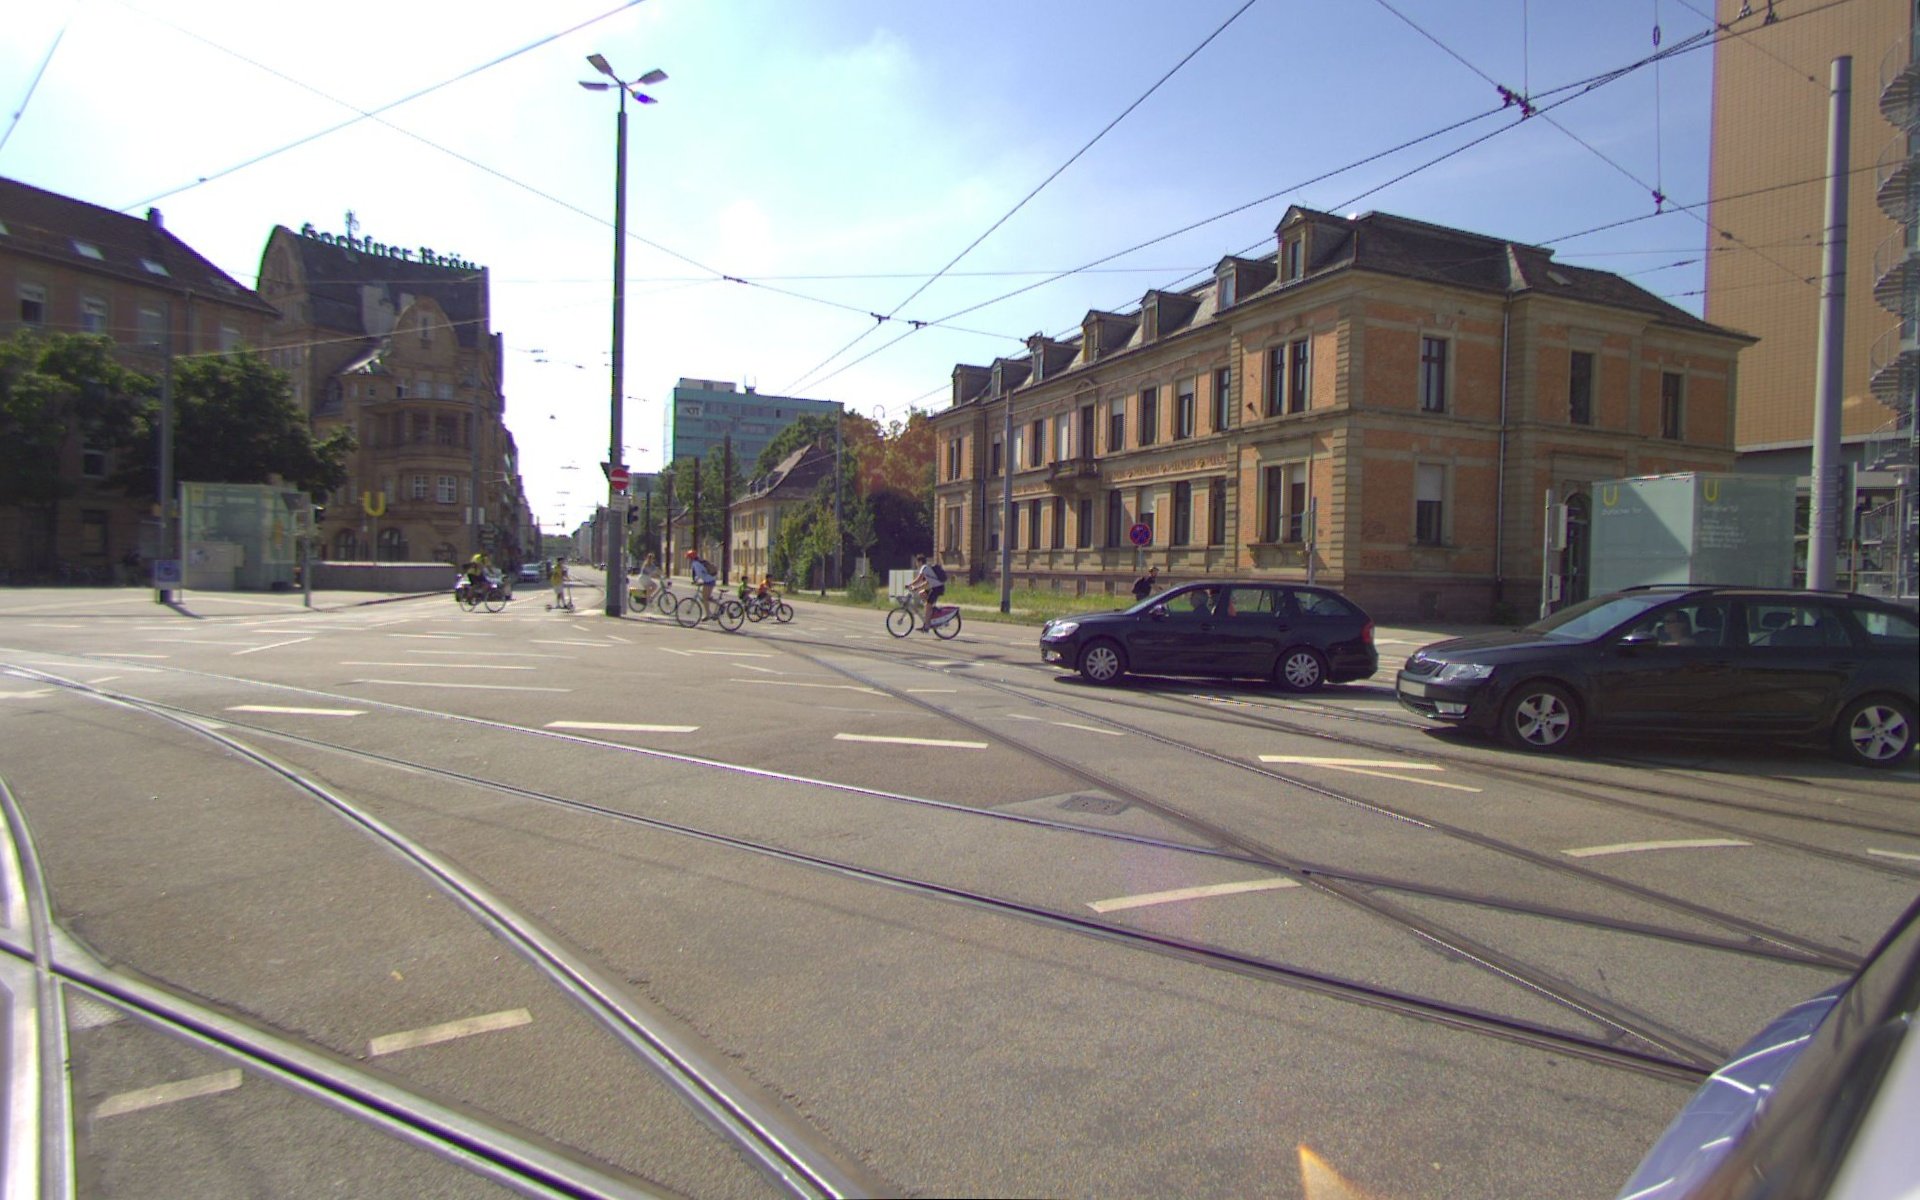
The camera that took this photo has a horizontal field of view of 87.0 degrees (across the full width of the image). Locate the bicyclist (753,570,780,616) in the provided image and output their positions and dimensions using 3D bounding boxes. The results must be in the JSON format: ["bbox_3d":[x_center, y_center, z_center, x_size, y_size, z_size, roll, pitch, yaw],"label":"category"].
[{"bbox_3d":[-5.208,-0.203,27.259,0.593,1.211,0.519,2,1,4],"label":"bicyclist"}]

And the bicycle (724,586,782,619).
[{"bbox_3d":[-6.003,0.073,29.336,1.559,0.877,0.501,2,-1,5],"label":"bicycle"}]

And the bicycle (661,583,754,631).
[{"bbox_3d":[-5.837,0.147,23.418,1.992,1.027,0.713,1,3,15],"label":"bicycle"}]

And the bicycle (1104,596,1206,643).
[{"bbox_3d":[4.900,0.467,25.542,2.443,1.083,0.662,2,0,30],"label":"bicycle"}]

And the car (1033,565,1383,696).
[{"bbox_3d":[3.239,0.346,13.839,4.325,1.447,1.702,3,2,9],"label":"car"}]

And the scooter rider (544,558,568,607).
[{"bbox_3d":[-11.833,-0.502,29.655,0.400,1.415,0.587,1,-1,6],"label":"scooter rider"}]

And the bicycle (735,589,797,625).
[{"bbox_3d":[-5.217,0.186,27.264,1.547,0.897,0.519,2,1,4],"label":"bicycle"}]

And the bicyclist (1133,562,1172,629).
[{"bbox_3d":[4.867,-0.117,25.596,0.776,1.645,0.662,1,-1,30],"label":"bicyclist"}]

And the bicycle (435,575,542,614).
[{"bbox_3d":[-13.776,-0.149,29.632,2.692,1.083,0.930,1,-1,-4],"label":"bicycle"}]

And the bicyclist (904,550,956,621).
[{"bbox_3d":[-0.644,-0.310,21.865,0.937,1.507,0.712,0,-1,17],"label":"bicyclist"}]

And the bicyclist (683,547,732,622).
[{"bbox_3d":[-5.825,-0.366,23.383,0.862,1.689,0.713,1,3,15],"label":"bicyclist"}]

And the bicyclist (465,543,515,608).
[{"bbox_3d":[-13.753,-0.707,29.642,1.031,1.843,0.930,1,-1,-4],"label":"bicyclist"}]

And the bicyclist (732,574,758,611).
[{"bbox_3d":[-6.224,-0.206,29.364,0.595,1.042,0.501,1,-1,5],"label":"bicyclist"}]

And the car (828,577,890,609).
[{"bbox_3d":[-4.559,-0.345,45.281,1.638,1.329,3.459,1,2,-26],"label":"car"}]

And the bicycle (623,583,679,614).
[{"bbox_3d":[-9.294,-0.033,30.460,1.563,0.877,0.500,2,-1,13],"label":"bicycle"}]

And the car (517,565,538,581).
[{"bbox_3d":[-37.313,-2.344,87.361,1.604,1.362,3.591,1,2,-24],"label":"car"}]

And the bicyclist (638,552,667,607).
[{"bbox_3d":[-9.257,-0.616,30.466,0.640,1.642,0.500,1,-1,12],"label":"bicyclist"}]

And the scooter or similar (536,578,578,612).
[{"bbox_3d":[-11.805,-0.151,29.649,0.975,0.988,0.587,1,-1,7],"label":"scooter or similar"}]

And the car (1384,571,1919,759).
[{"bbox_3d":[6.598,0.516,9.257,4.701,1.453,1.632,2,1,9],"label":"car"}]

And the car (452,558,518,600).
[{"bbox_3d":[-19.181,-0.873,40.994,1.604,1.603,4.009,1,1,-13],"label":"car"}]

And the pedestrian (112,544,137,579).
[{"bbox_3d":[-35.286,-1.616,42.752,0.698,1.451,0.614,1,-1,-31],"label":"pedestrian"}]

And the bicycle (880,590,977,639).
[{"bbox_3d":[-0.676,0.308,21.866,1.989,1.028,0.714,1,-1,12],"label":"bicycle"}]
